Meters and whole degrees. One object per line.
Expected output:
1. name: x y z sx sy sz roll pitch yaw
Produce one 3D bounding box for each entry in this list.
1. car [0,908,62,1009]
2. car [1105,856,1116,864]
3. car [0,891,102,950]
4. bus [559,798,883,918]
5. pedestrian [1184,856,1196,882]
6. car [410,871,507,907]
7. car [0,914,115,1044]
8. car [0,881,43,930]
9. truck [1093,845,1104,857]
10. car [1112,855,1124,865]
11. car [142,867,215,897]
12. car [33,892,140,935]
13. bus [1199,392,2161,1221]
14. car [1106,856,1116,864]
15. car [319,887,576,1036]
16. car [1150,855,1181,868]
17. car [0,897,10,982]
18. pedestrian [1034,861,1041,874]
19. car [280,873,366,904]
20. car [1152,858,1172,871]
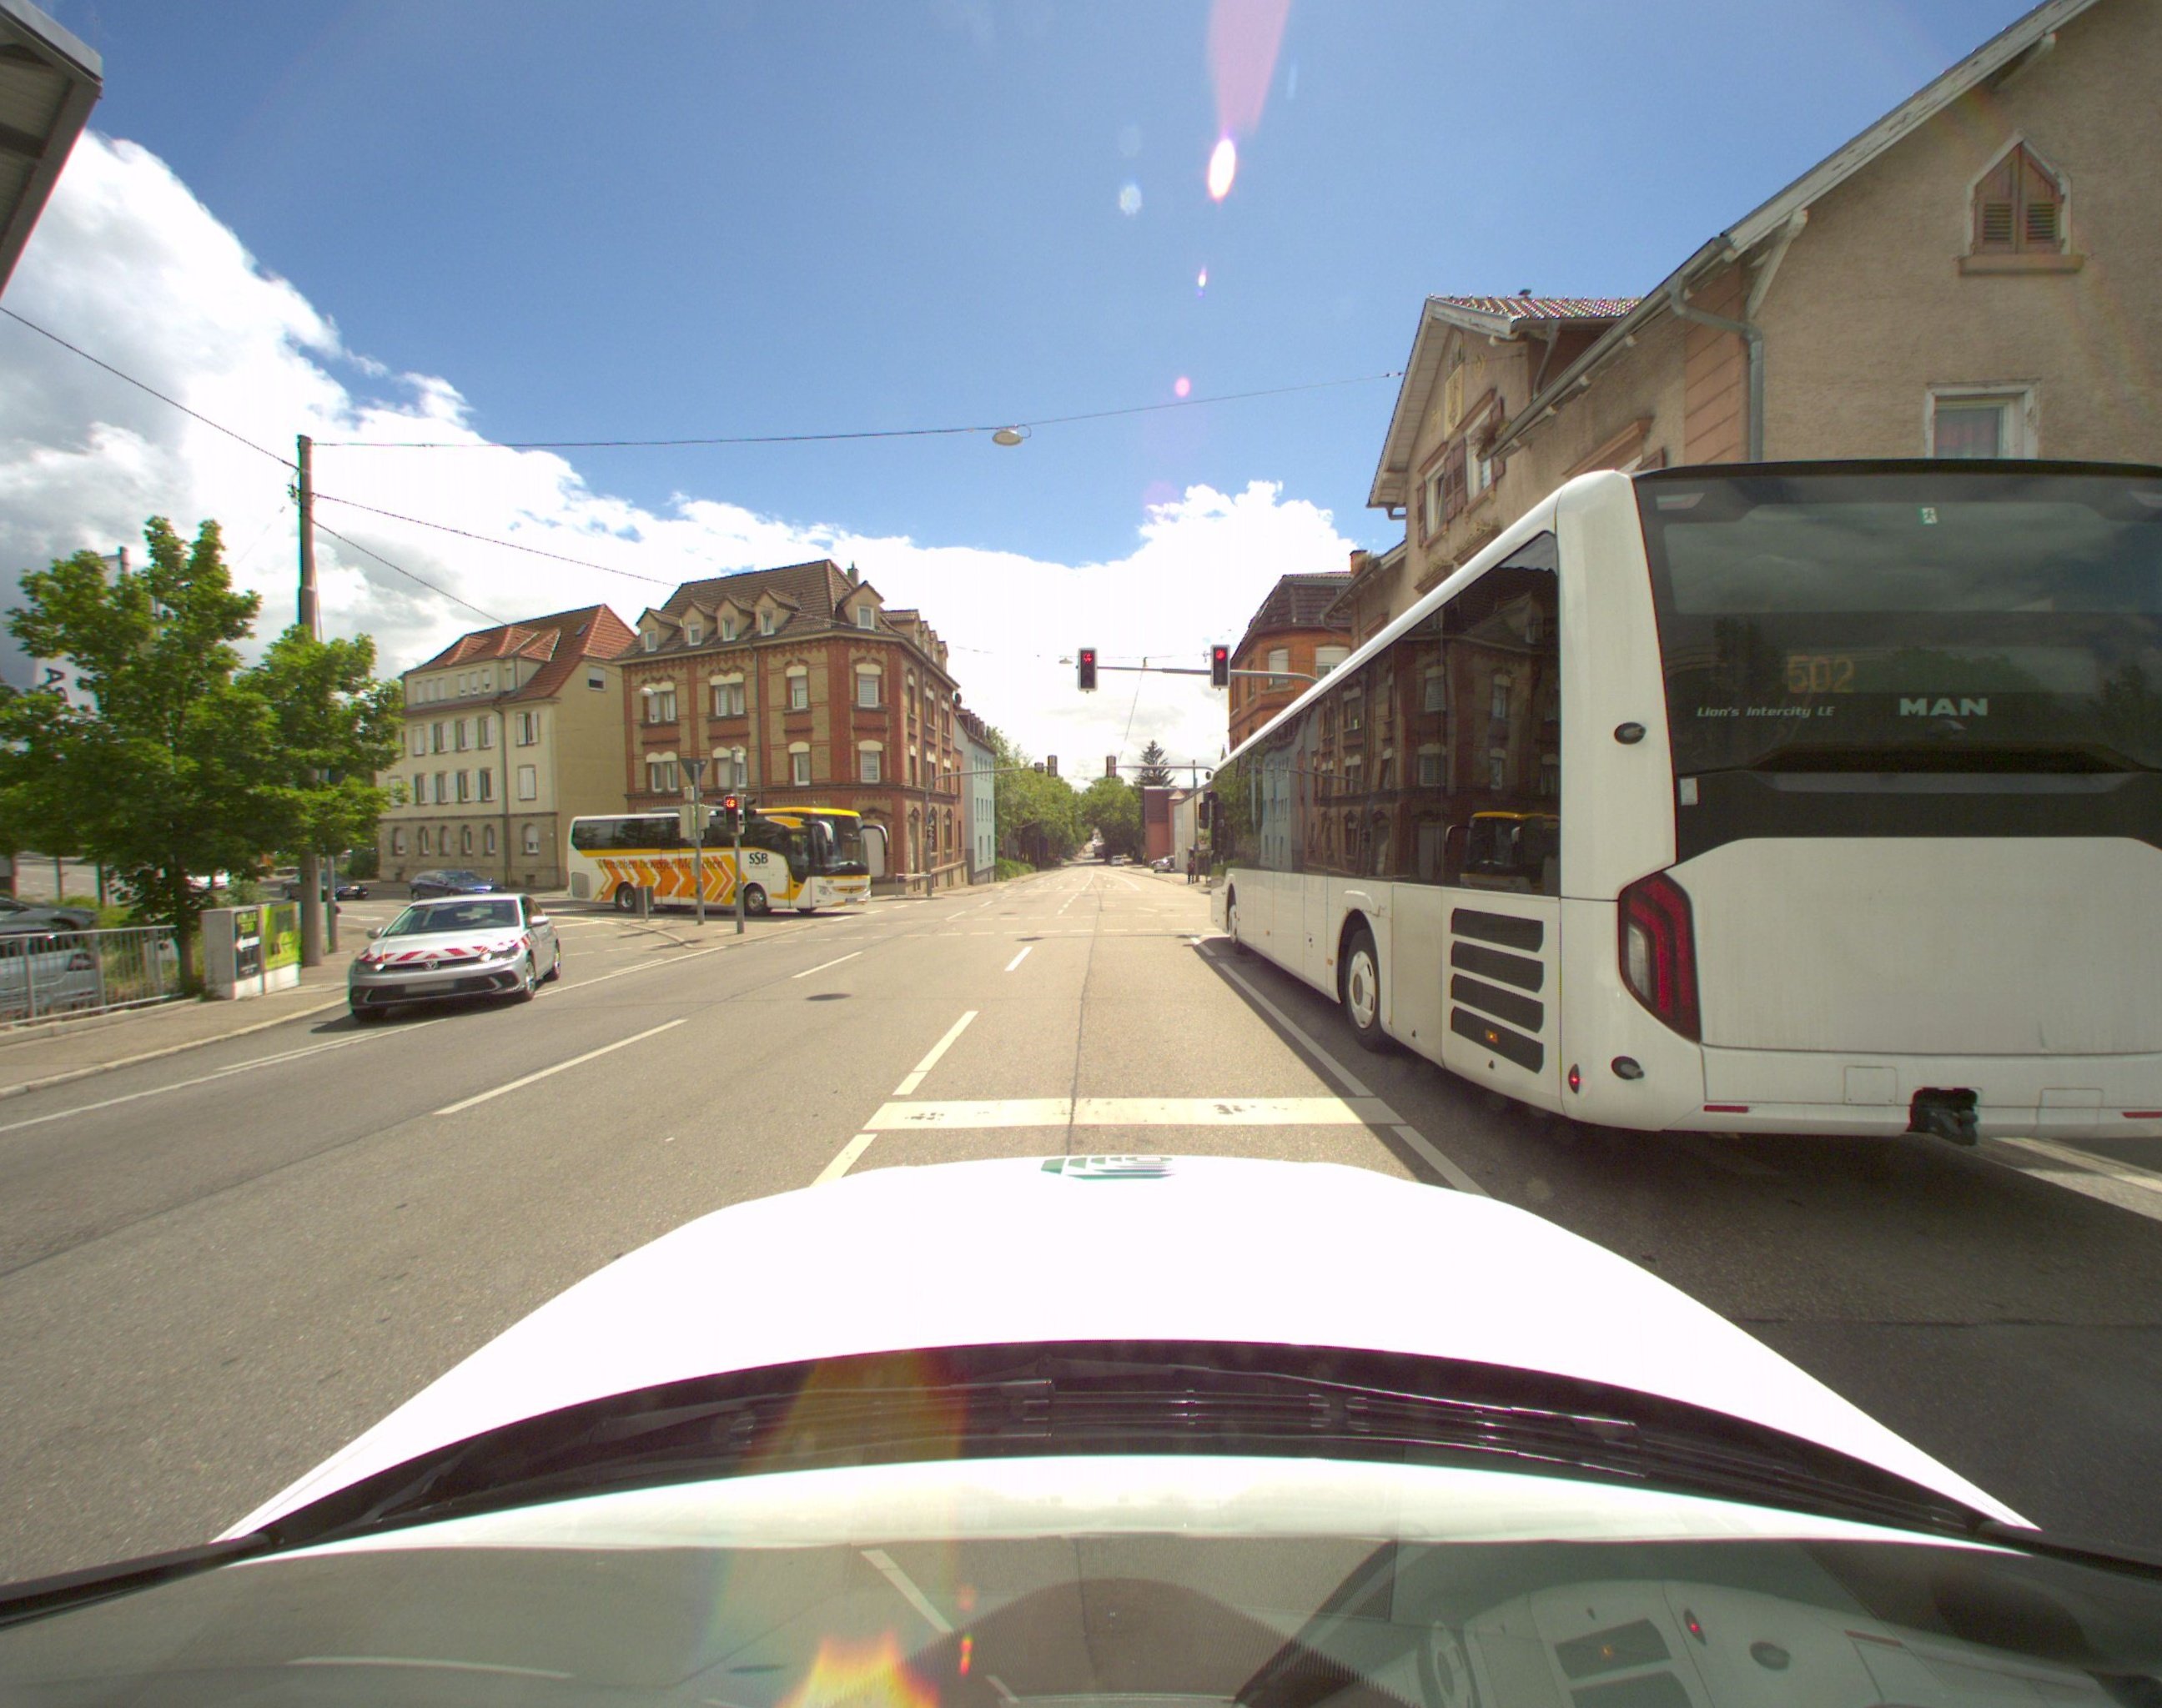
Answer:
1. car: -19.521 1.824 14.185 3.455 1.526 1.626 -1 2 29
2. car: 5.292 0.996 145.918 1.787 1.409 4.421 -1 0 3
3. car: -29.582 1.852 22.179 1.777 1.477 3.522 -2 0 32
4. bus: -12.712 0.213 28.216 12.113 3.621 2.787 -1 0 24
5. pedestrian: 7.459 1.014 55.744 0.736 1.750 0.619 -2 0 1
6. car: -26.480 1.492 34.638 3.949 1.409 1.762 -2 0 28
7. car: -16.008 1.808 12.061 3.321 1.560 1.692 0 2 32
8. car: -36.315 1.703 25.721 1.785 1.554 4.023 -2 0 25
9. truck: 5.017 -0.883 237.848 2.917 3.081 7.883 -2 0 0
10. car: 5.882 0.955 129.482 1.787 1.409 4.002 -1 0 3
11. car: -51.221 1.589 46.197 3.949 1.554 1.923 -2 0 29
12. car: -37.575 2.225 30.766 3.456 1.448 1.811 -2 0 26
13. bus: 3.413 -0.163 9.383 2.662 3.155 12.467 -1 0 2
14. car: 5.760 1.135 154.236 1.787 1.409 4.421 -1 0 3
15. car: -8.249 1.266 11.015 1.888 1.418 3.590 -5 1 -25
16. car: 11.776 1.050 113.076 3.978 1.757 1.998 -2 0 -3
17. car: -23.475 1.756 16.485 3.455 1.680 1.663 -1 2 30
18. pedestrian: -5.326 1.588 99.481 0.727 1.565 0.561 -1 -1 0
19. car: -37.053 1.684 39.795 3.949 1.409 1.923 -2 0 29
20. car: 9.228 1.178 93.021 1.788 1.409 4.000 -2 0 1
